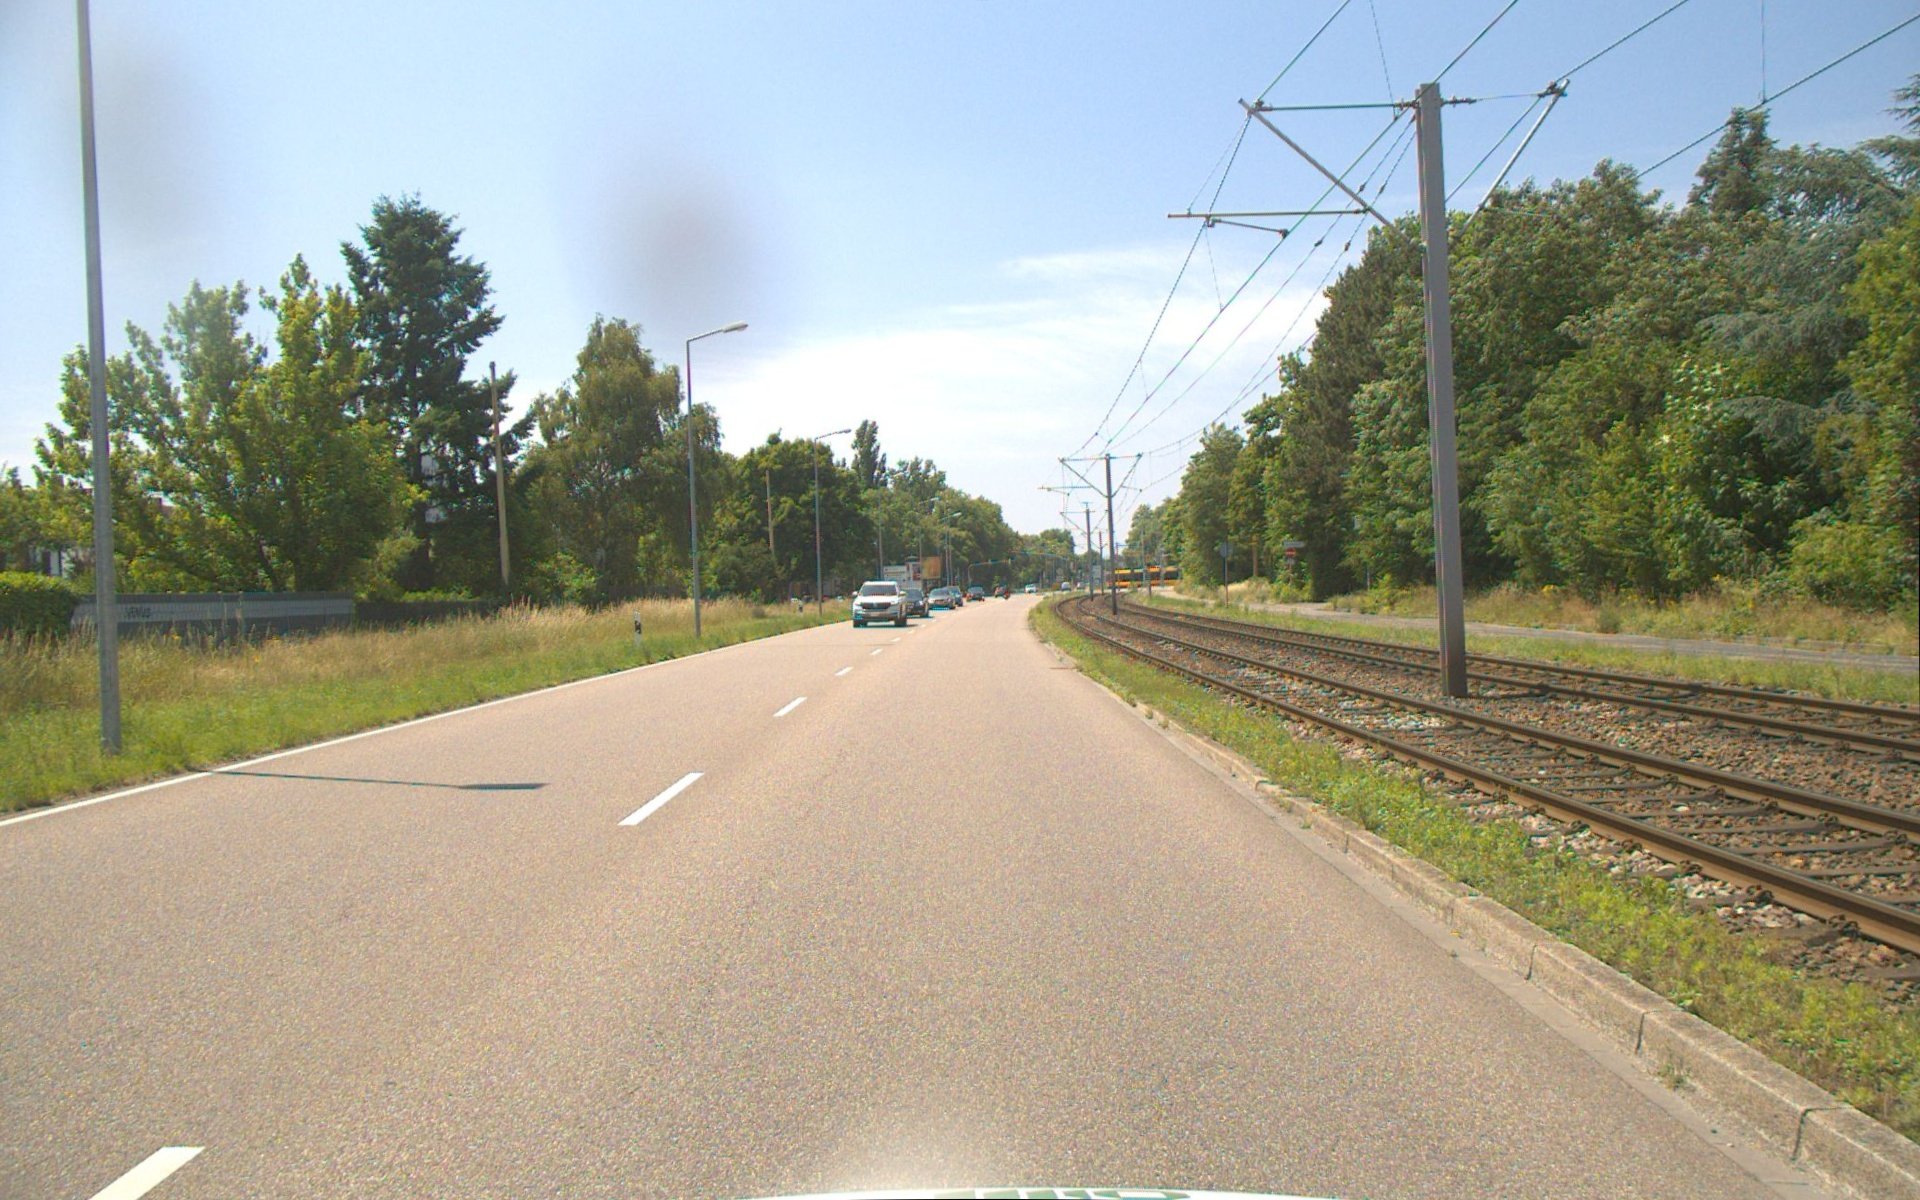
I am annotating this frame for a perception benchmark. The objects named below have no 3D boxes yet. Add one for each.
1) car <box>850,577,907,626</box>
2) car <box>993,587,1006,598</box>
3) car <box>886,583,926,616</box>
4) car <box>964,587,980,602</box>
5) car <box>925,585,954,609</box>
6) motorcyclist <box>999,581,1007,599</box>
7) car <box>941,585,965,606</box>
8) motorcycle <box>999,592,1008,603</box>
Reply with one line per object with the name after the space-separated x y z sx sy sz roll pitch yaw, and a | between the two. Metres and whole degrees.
-3.197 0.041 65.559 1.896 1.827 4.712 -2 0 1 | car
5.502 -1.067 231.476 1.593 1.419 4.366 -2 0 5 | car
-2.675 -0.031 82.969 1.780 1.555 4.364 -2 0 1 | car
1.272 -0.564 173.023 1.594 1.516 4.364 -2 0 1 | car
-1.383 -0.216 112.137 1.780 1.519 4.364 -2 0 1 | car
4.653 -1.080 179.502 0.873 1.938 1.016 -1 0 2 | motorcyclist
-0.556 -0.356 128.995 1.780 1.565 4.364 -2 0 1 | car
4.733 -0.303 179.641 0.950 1.137 2.733 -1 0 2 | motorcycle
